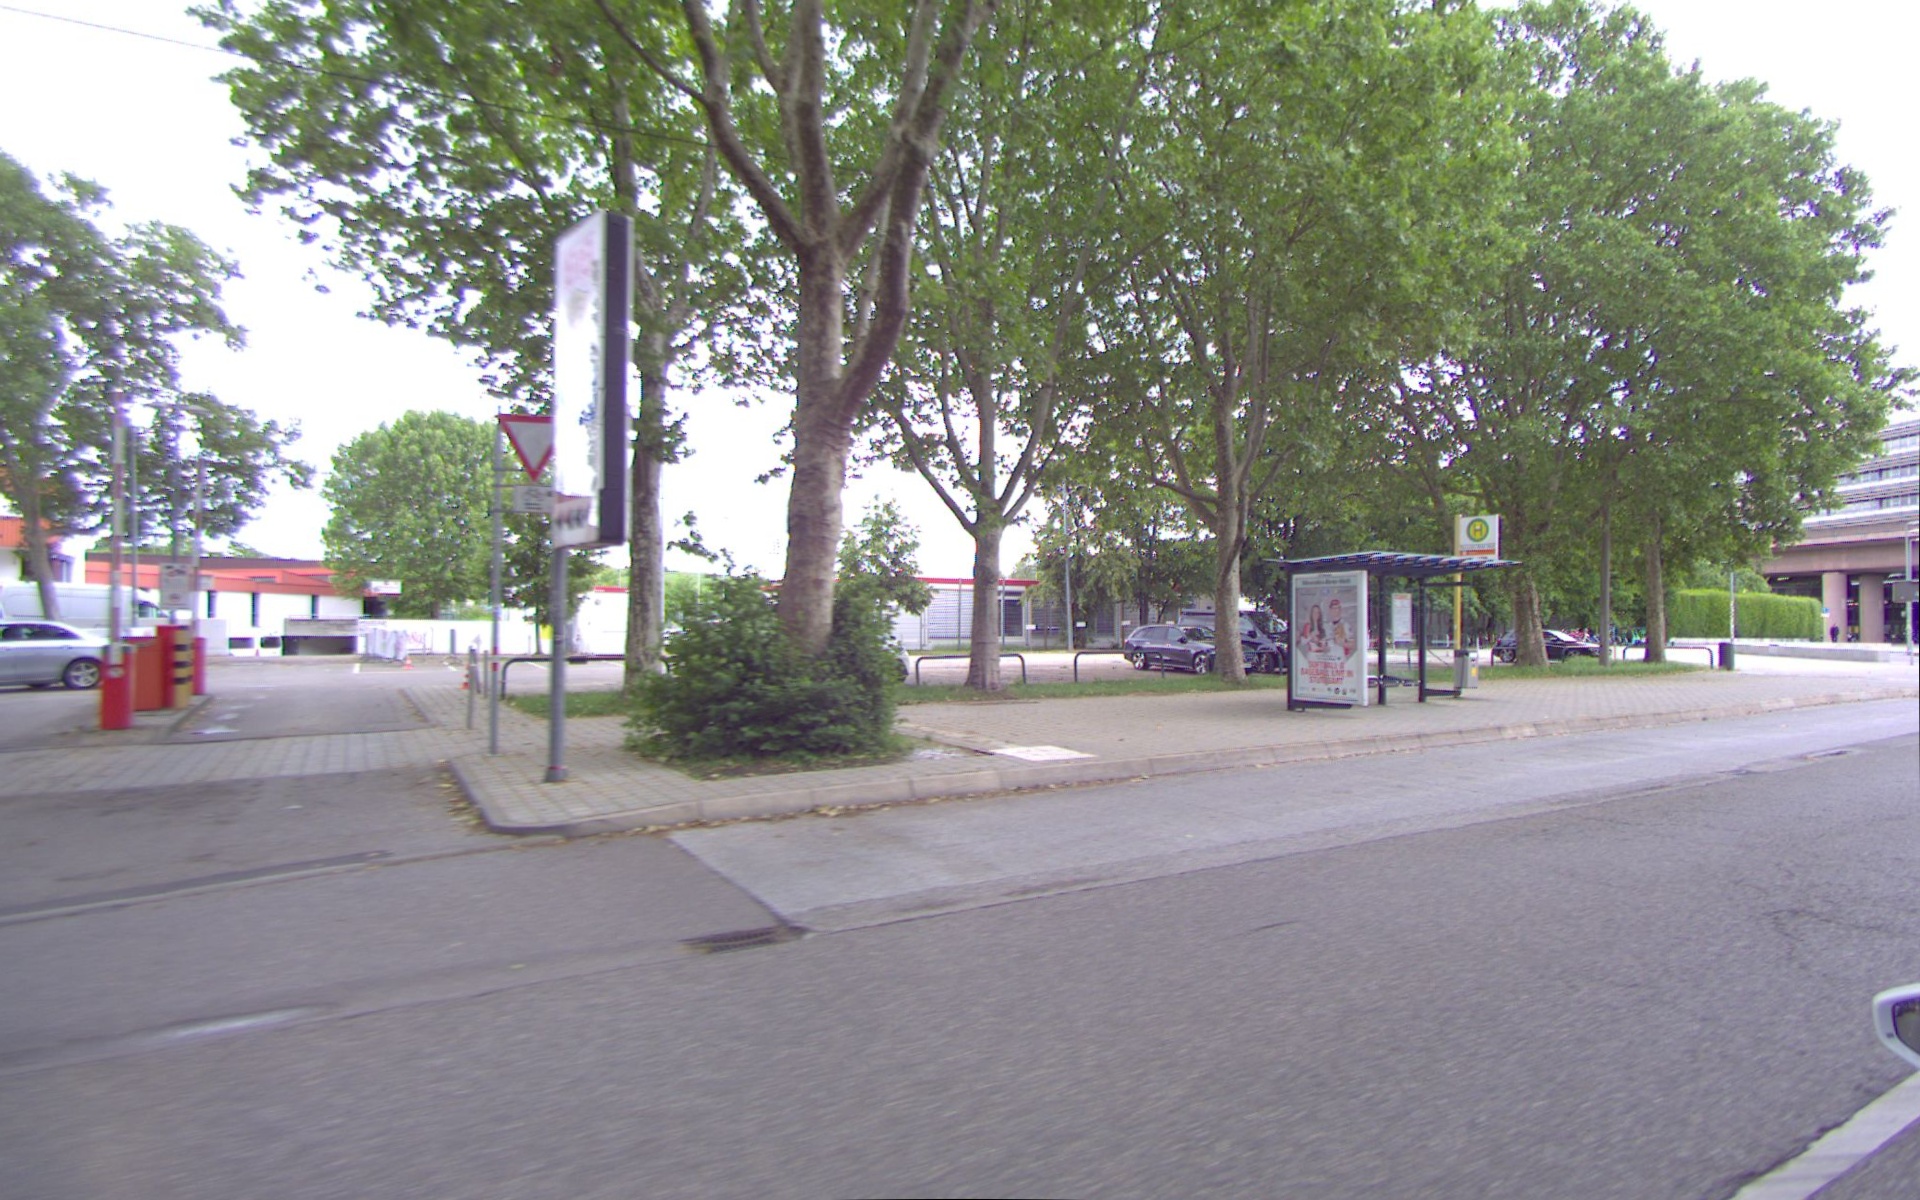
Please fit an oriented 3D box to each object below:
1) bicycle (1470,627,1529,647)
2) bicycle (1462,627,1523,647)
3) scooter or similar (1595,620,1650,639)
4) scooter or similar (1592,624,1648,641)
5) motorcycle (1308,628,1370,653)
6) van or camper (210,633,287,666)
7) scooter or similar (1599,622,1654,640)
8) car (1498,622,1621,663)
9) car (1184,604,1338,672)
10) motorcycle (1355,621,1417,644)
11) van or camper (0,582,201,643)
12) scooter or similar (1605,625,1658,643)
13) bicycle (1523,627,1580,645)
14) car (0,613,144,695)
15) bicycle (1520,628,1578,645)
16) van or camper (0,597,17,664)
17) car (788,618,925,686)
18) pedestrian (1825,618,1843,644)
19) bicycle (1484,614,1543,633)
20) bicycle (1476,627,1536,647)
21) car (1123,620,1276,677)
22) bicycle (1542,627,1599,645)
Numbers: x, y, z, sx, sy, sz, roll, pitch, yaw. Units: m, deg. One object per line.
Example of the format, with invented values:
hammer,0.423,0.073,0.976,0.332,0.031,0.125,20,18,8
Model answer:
bicycle,33.190,2.269,61.823,3.149,1.112,0.768,0,-1,45
bicycle,31.989,2.225,60.431,3.149,1.112,0.768,0,-1,45
scooter or similar,46.338,2.050,70.291,3.148,1.266,0.768,0,-1,44
scooter or similar,45.705,2.269,69.589,3.148,1.112,0.768,0,-1,44
motorcycle,20.179,2.120,53.623,0.762,1.238,3.651,1,-1,-24
van or camper,-47.022,3.269,66.387,3.919,2.040,2.001,1,-1,13
scooter or similar,47.130,2.186,71.076,3.148,1.266,0.768,0,-1,44
car,25.064,1.751,42.072,2.214,1.626,3.955,2,-2,-39
car,9.719,1.191,32.758,2.235,2.052,4.597,1,-1,-28
motorcycle,23.524,1.789,55.576,0.762,1.238,3.651,1,-1,-24
van or camper,-30.538,0.474,35.906,5.245,2.040,1.983,1,-1,-32
scooter or similar,48.807,2.445,73.020,3.148,1.266,0.768,0,-1,44
bicycle,38.600,2.347,65.583,3.148,1.112,0.768,0,-1,44
car,-19.610,1.048,19.880,2.059,1.572,4.976,0,-1,22
bicycle,37.888,2.355,64.651,3.148,1.111,0.768,-3,-3,44
van or camper,-25.424,0.767,24.906,2.108,1.732,4.298,1,-1,-31
car,-2.687,1.250,25.341,1.978,1.543,3.968,1,-1,-30
pedestrian,71.713,2.540,82.445,0.594,2.040,1.033,1,-1,-42
bicycle,34.924,1.484,63.409,3.149,1.112,0.768,0,-1,45
bicycle,33.924,2.293,62.459,3.149,1.112,0.768,0,-1,45
car,7.304,1.446,31.077,2.083,1.588,4.607,2,-2,-28
bicycle,40.686,2.408,67.000,3.148,1.112,0.768,0,-1,44
